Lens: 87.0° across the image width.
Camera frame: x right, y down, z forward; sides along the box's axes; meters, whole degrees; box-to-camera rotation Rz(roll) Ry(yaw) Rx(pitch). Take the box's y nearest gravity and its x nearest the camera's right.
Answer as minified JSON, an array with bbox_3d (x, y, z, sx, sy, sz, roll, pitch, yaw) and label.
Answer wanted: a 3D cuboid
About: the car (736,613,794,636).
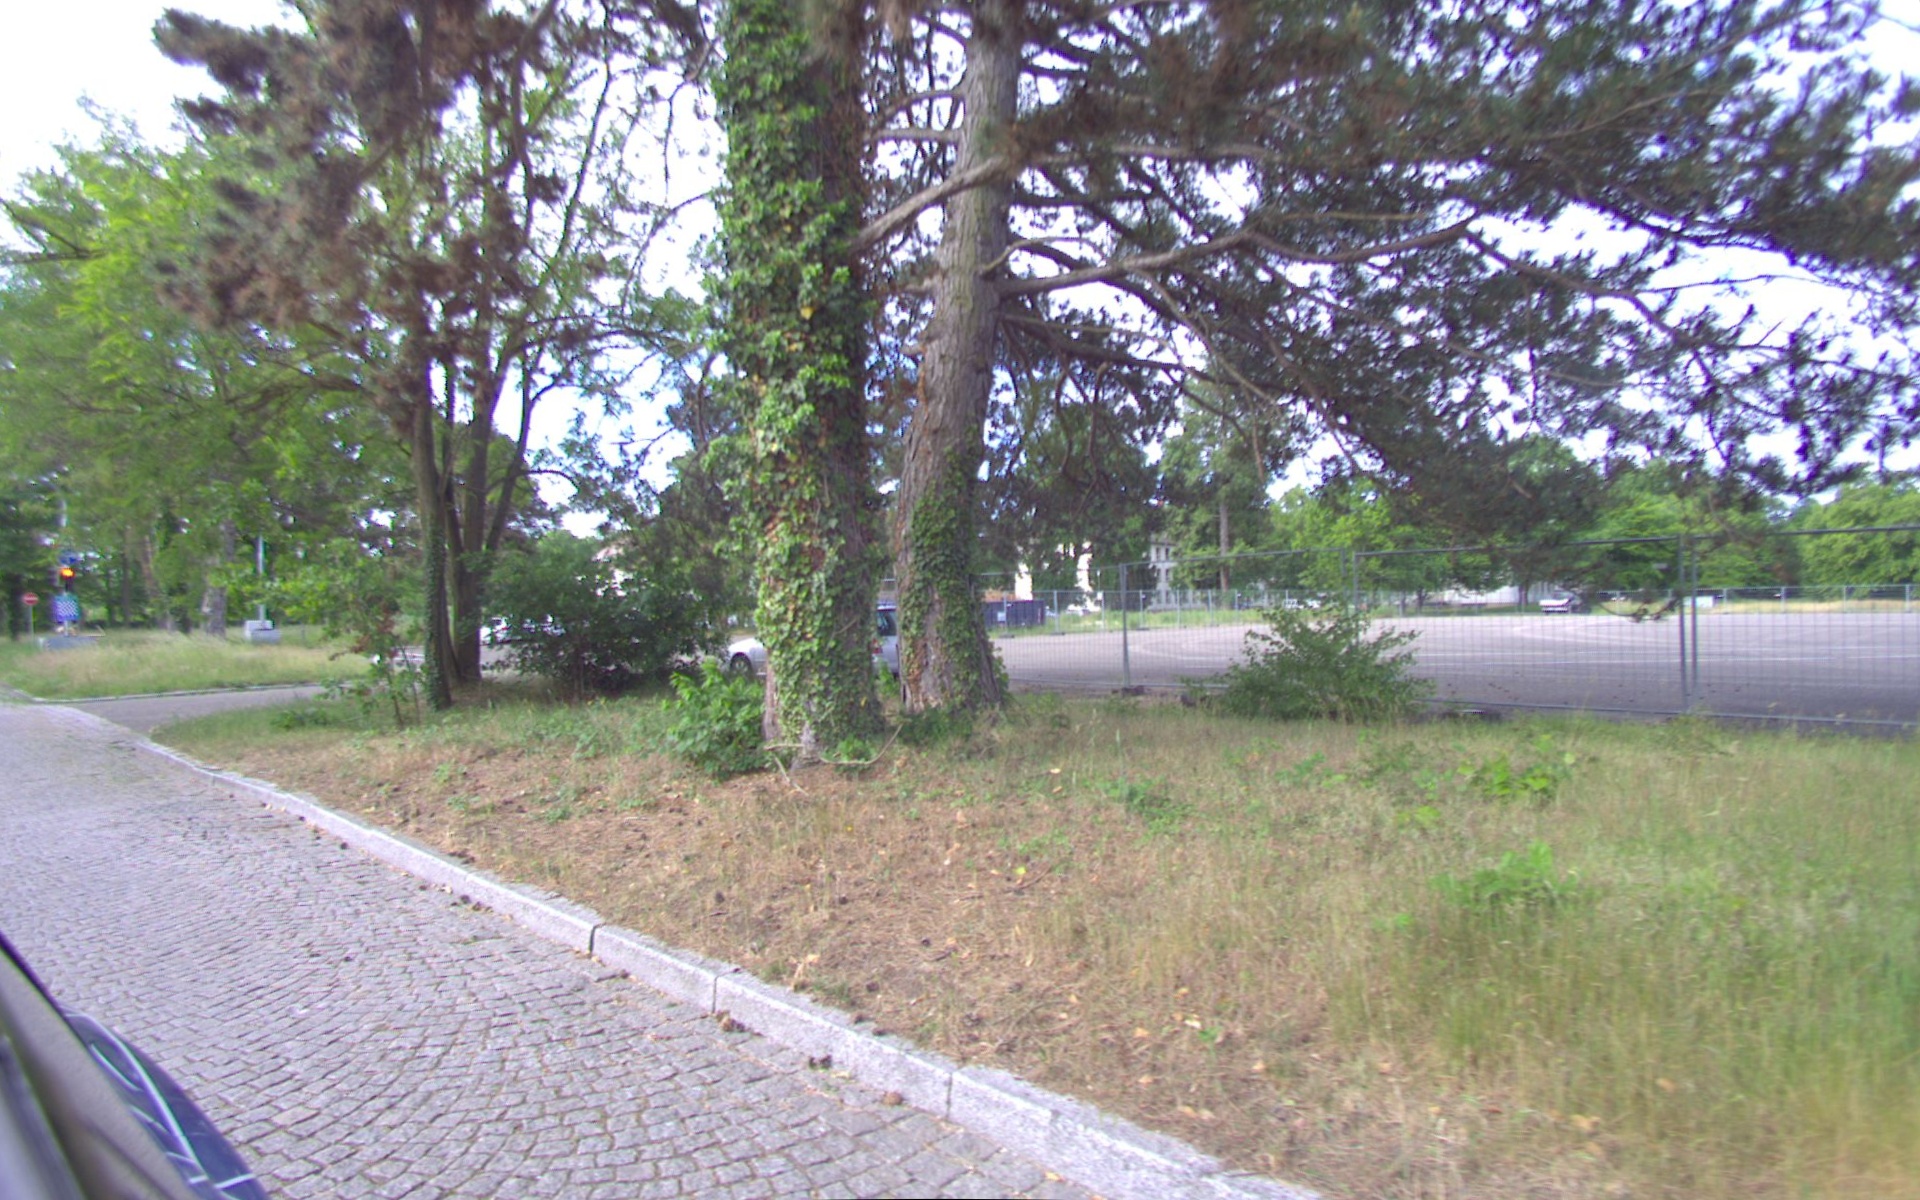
[{"bbox_3d":[-14.926,1.880,77.239,4.581,1.586,1.816,-4,-2,40],"label":"car"}]

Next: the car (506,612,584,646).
[{"bbox_3d":[-21.665,1.529,52.772,4.581,1.590,1.816,-4,-2,40],"label":"car"}]

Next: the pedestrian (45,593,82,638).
[{"bbox_3d":[-31.557,0.548,35.635,0.869,1.529,0.824,-1,-1,-33],"label":"pedestrian"}]

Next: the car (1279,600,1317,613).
[{"bbox_3d":[46.365,0.921,138.731,4.581,1.645,1.816,-2,-1,40],"label":"car"}]

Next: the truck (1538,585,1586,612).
[{"bbox_3d":[52.913,-0.166,88.877,2.374,2.215,6.465,-2,-1,42],"label":"truck"}]

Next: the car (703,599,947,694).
[{"bbox_3d":[-2.468,0.781,17.781,4.463,1.449,1.698,-2,-1,40],"label":"car"}]

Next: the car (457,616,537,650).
[{"bbox_3d":[-23.243,1.652,50.724,4.651,1.461,1.816,-4,-2,40],"label":"car"}]

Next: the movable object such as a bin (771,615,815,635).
[{"bbox_3d":[-8.101,1.224,49.019,1.932,0.940,1.029,-2,-2,36],"label":"movable object such as a bin"}]
